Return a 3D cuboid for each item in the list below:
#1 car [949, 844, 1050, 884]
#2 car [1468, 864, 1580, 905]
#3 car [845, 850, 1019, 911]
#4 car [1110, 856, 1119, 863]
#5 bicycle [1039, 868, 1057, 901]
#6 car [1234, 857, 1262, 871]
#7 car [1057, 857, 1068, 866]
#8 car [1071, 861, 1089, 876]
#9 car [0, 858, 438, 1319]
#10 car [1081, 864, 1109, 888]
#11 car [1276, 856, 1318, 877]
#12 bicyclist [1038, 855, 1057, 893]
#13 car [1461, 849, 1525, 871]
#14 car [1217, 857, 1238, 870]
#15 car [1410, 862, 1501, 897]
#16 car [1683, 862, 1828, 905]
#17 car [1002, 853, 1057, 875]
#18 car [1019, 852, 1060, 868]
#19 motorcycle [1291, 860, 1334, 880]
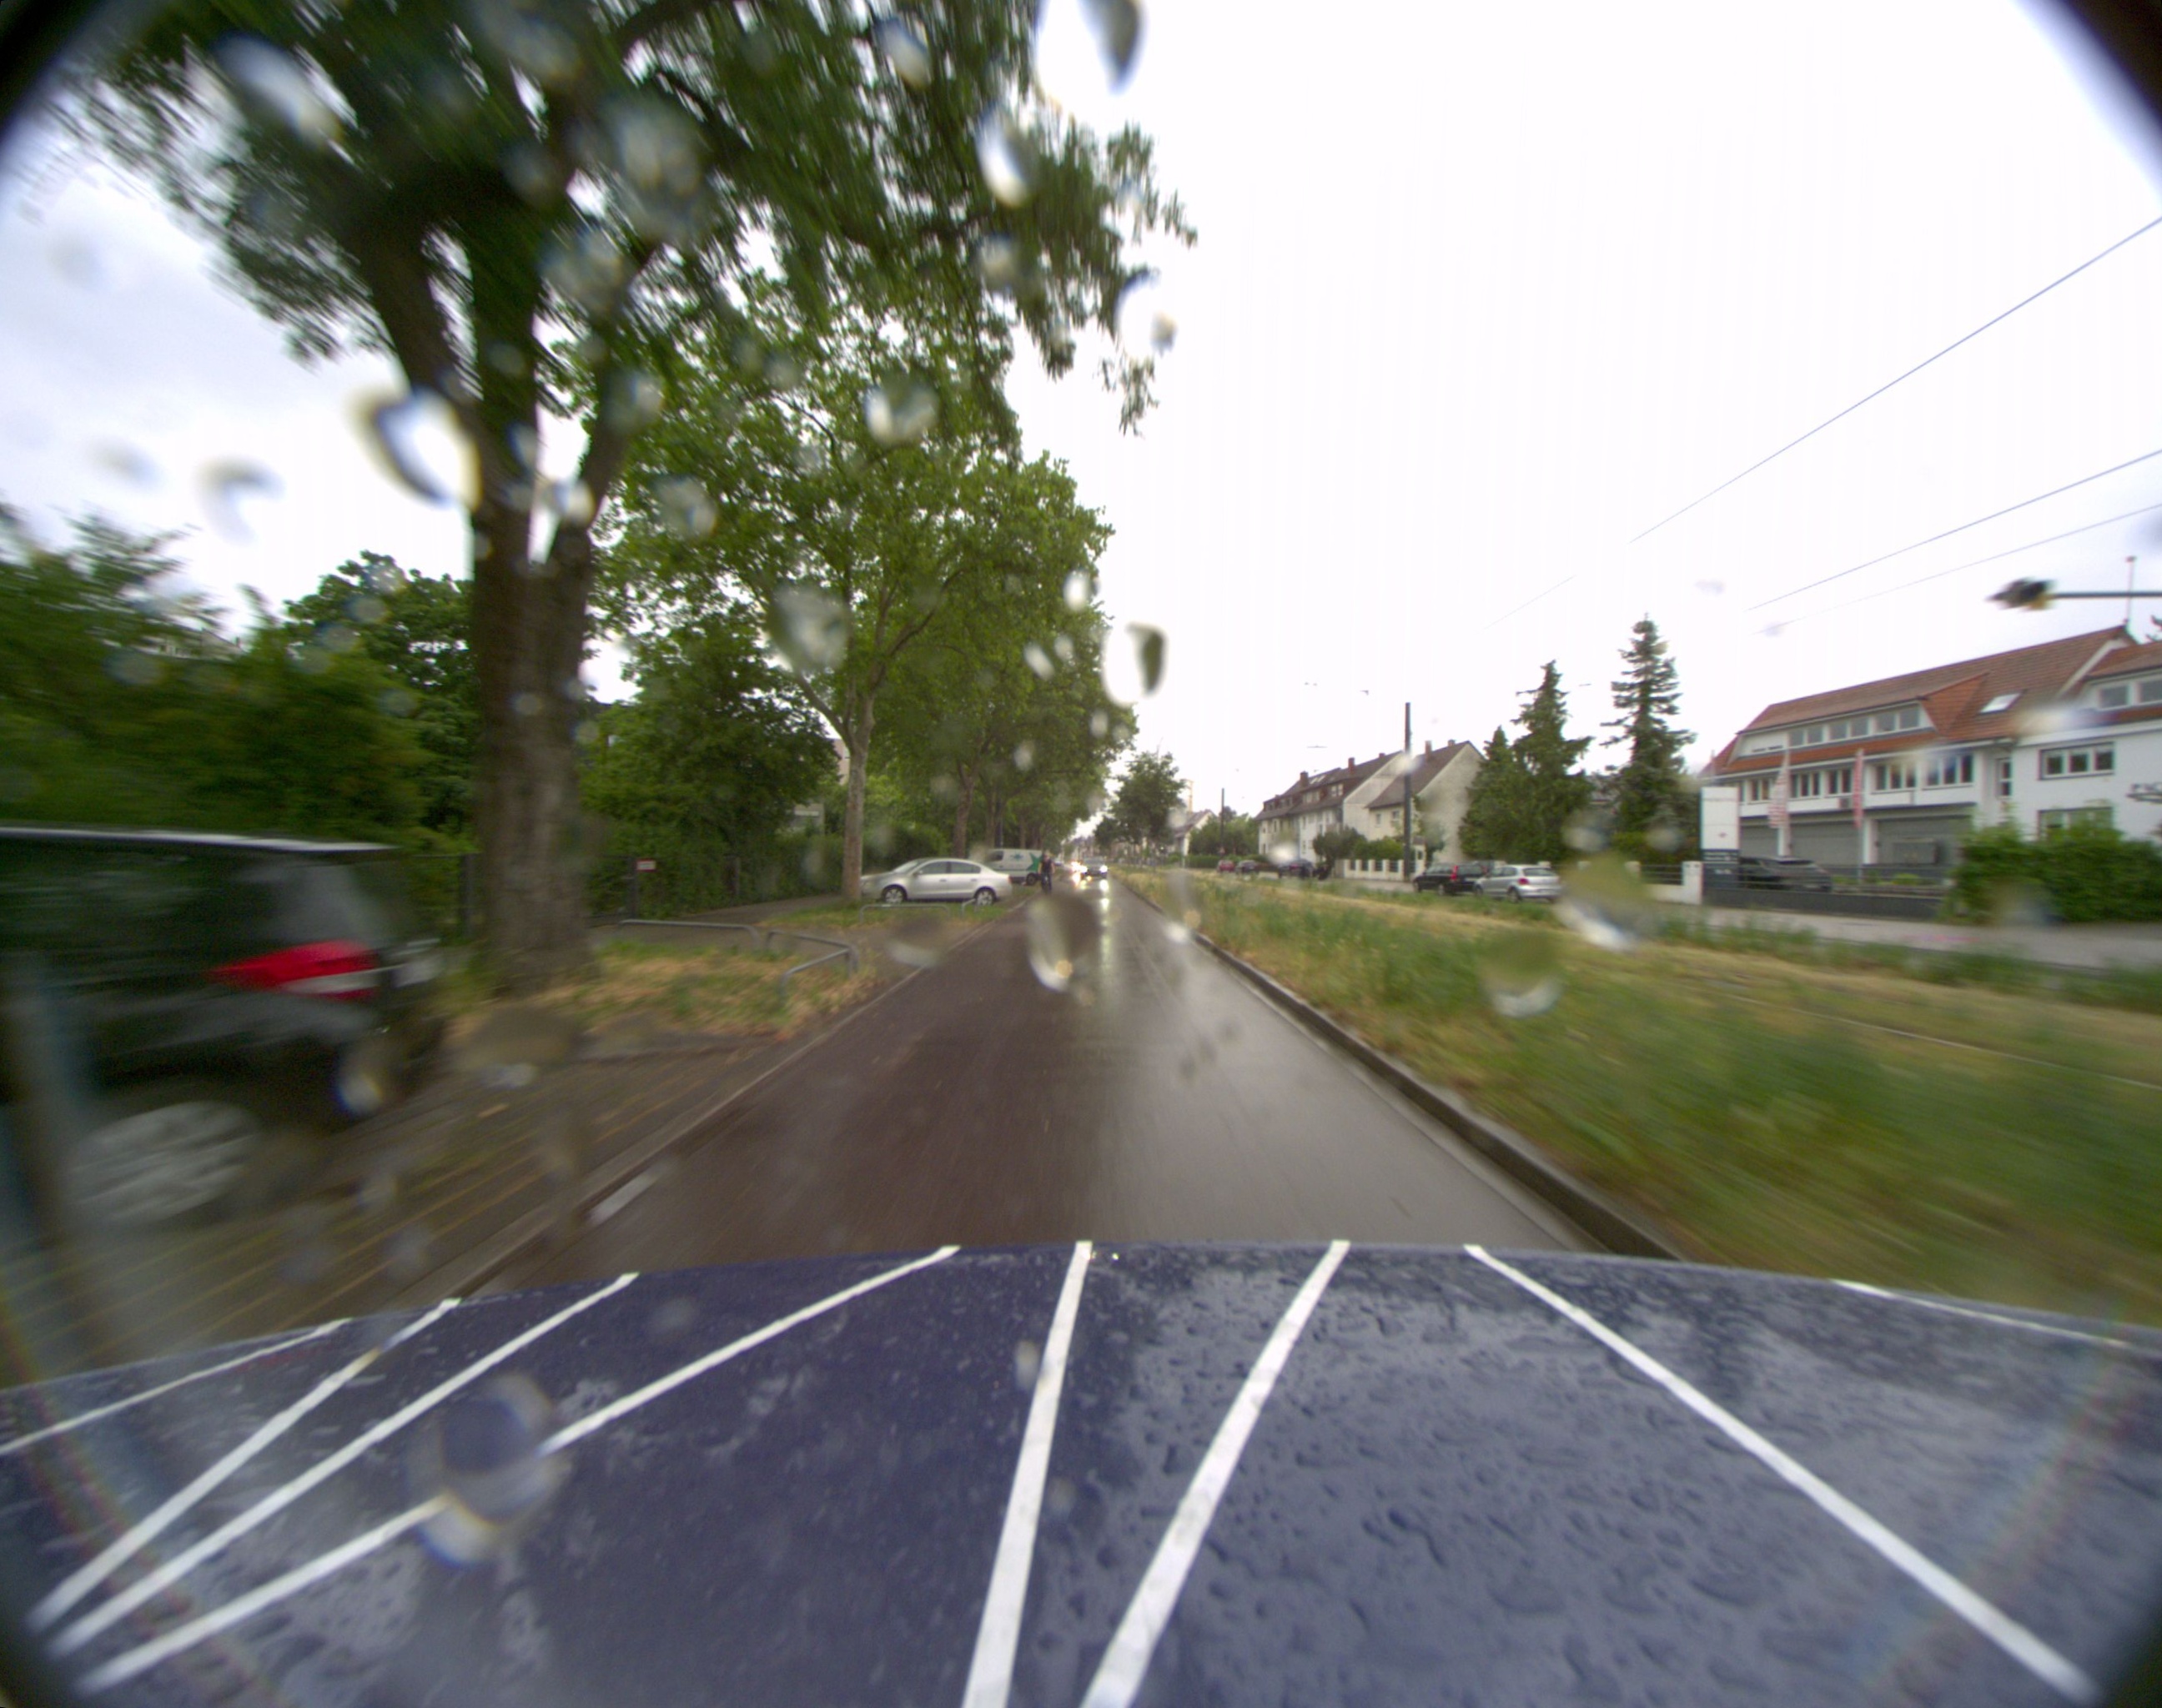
[{"bbox_3d":[-4.392,0.572,41.178,5.040,2.001,1.995,3,-1,-34],"label":"car"},{"bbox_3d":[16.890,1.129,29.208,1.998,1.402,3.971,-1,0,0],"label":"car"},{"bbox_3d":[-4.311,0.783,22.234,4.570,1.535,1.883,4,-2,-31],"label":"car"},{"bbox_3d":[10.212,1.635,229.910,2.000,2.002,3.997,1,0,-7],"label":"car"},{"bbox_3d":[-1.259,1.141,29.152,0.675,1.136,2.444,-1,0,-2],"label":"bicycle"},{"bbox_3d":[17.089,0.995,77.915,1.998,1.402,4.762,-1,0,2],"label":"car"},{"bbox_3d":[-3.355,1.396,136.894,1.781,1.477,4.000,3,0,-1],"label":"car"},{"bbox_3d":[-0.088,1.492,81.557,1.781,1.477,4.000,3,0,-1],"label":"car"},{"bbox_3d":[-4.959,0.799,2.806,3.721,1.557,1.615,2,0,-32],"label":"car"},{"bbox_3d":[0.927,1.529,54.010,1.781,1.477,4.000,3,0,-1],"label":"car"},{"bbox_3d":[17.297,0.981,60.996,1.999,1.665,4.386,0,0,-1],"label":"car"},{"bbox_3d":[-1.263,0.738,28.886,0.675,1.421,0.753,-1,0,-2],"label":"bicyclist"},{"bbox_3d":[31.398,0.464,57.927,3.968,1.531,1.704,-1,0,0],"label":"car"},{"bbox_3d":[17.211,1.070,89.172,1.802,1.448,4.001,-1,0,2],"label":"car"},{"bbox_3d":[16.825,1.102,34.448,1.998,1.447,4.532,-1,0,2],"label":"car"},{"bbox_3d":[24.268,1.007,27.556,1.703,1.402,3.971,-1,0,0],"label":"car"},{"bbox_3d":[-4.086,0.817,60.613,4.056,1.631,1.649,1,1,-38],"label":"car"},{"bbox_3d":[-4.248,0.648,77.896,3.812,1.523,1.878,2,-1,-32],"label":"car"},{"bbox_3d":[17.002,1.142,55.851,2.680,1.403,1.269,0,1,42],"label":"motorcycle"}]
